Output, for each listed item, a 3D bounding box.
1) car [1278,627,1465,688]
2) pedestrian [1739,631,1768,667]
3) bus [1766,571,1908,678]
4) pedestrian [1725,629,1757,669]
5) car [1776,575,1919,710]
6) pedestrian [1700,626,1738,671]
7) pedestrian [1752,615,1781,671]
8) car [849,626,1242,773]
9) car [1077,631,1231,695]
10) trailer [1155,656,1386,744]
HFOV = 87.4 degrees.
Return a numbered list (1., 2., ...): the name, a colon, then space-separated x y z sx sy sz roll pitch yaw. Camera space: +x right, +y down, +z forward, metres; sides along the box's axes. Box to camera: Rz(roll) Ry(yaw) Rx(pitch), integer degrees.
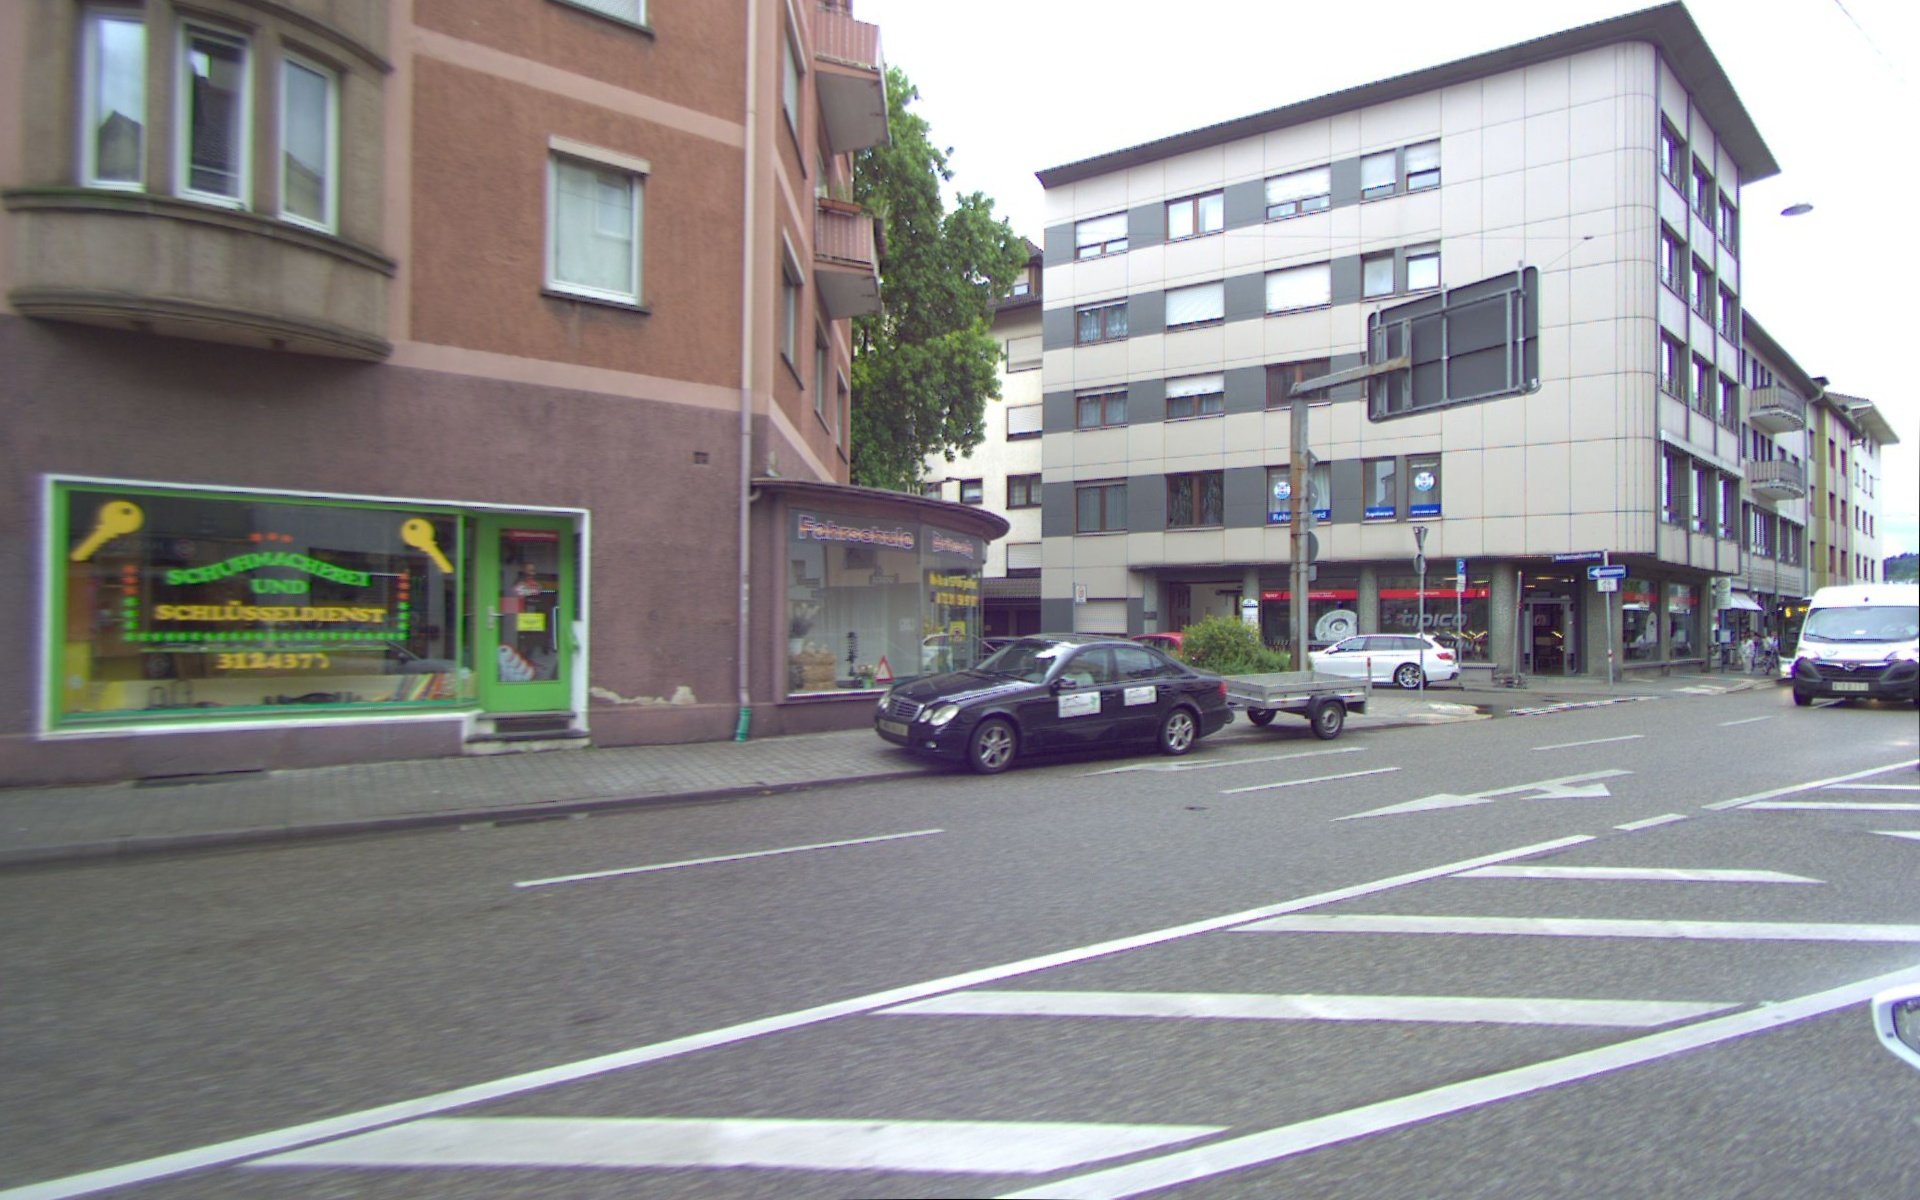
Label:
1. car: 11.214 1.534 27.431 4.559 1.553 1.903 -1 -3 28
2. pedestrian: 31.984 1.957 40.472 0.748 1.422 0.769 2 -3 -40
3. bus: 30.344 0.932 34.590 8.848 3.230 2.733 3 -3 -43
4. pedestrian: 28.364 1.769 36.465 0.780 1.414 0.762 2 -3 -40
5. car: 19.378 0.915 21.117 6.296 2.467 2.071 2 -3 -38
6. pedestrian: 28.004 1.788 37.051 0.828 1.610 0.937 2 -3 -40
7. pedestrian: 29.446 1.572 36.686 0.770 2.040 0.673 2 -3 -40
8. car: 1.170 1.101 12.433 4.744 1.416 1.838 2 1 -35
9. car: 4.905 1.560 25.493 3.470 1.502 1.688 -1 -3 36
10. trailer: 4.497 1.378 14.515 3.022 0.962 1.579 2 3 -32
